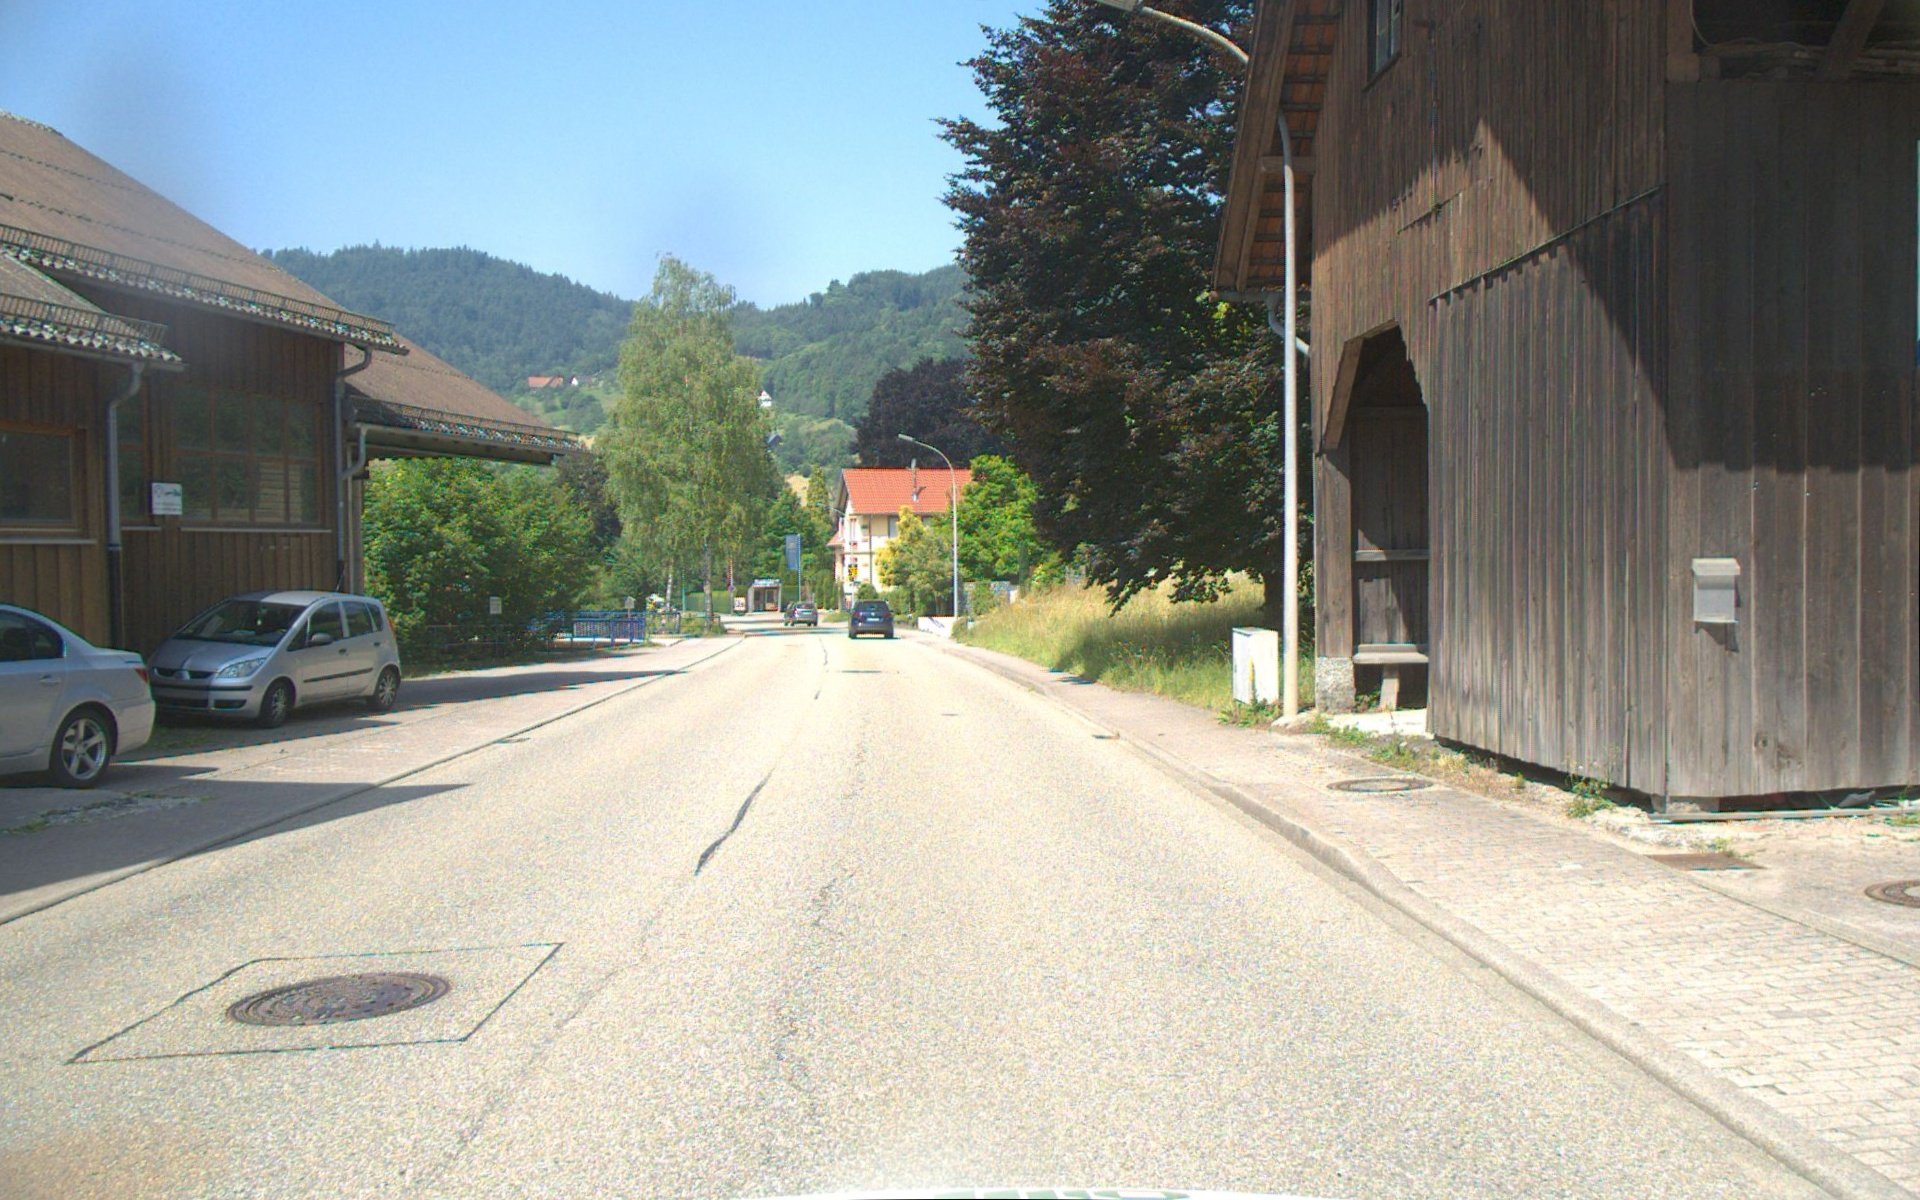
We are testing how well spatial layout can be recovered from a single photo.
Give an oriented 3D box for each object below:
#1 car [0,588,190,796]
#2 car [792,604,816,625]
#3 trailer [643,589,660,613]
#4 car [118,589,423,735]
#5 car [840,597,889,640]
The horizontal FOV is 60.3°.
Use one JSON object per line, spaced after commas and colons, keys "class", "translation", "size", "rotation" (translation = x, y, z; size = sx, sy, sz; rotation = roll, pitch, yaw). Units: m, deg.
{"class": "car", "translation": [-7.921, 0.717, 11.897], "size": [1.692, 1.479, 4.809], "rotation": [-1, 1, 13]}
{"class": "car", "translation": [-9.895, 0.926, 104.913], "size": [1.448, 1.230, 2.381], "rotation": [-2, 0, -5]}
{"class": "trailer", "translation": [-28.044, 0.137, 150.161], "size": [1.441, 2.114, 3.660], "rotation": [-2, 0, -11]}
{"class": "car", "translation": [-8.536, 0.689, 20.888], "size": [1.547, 1.597, 4.026], "rotation": [3, 1, 11]}
{"class": "car", "translation": [-4.076, 0.762, 70.179], "size": [1.883, 1.728, 3.783], "rotation": [-1, 0, -6]}
